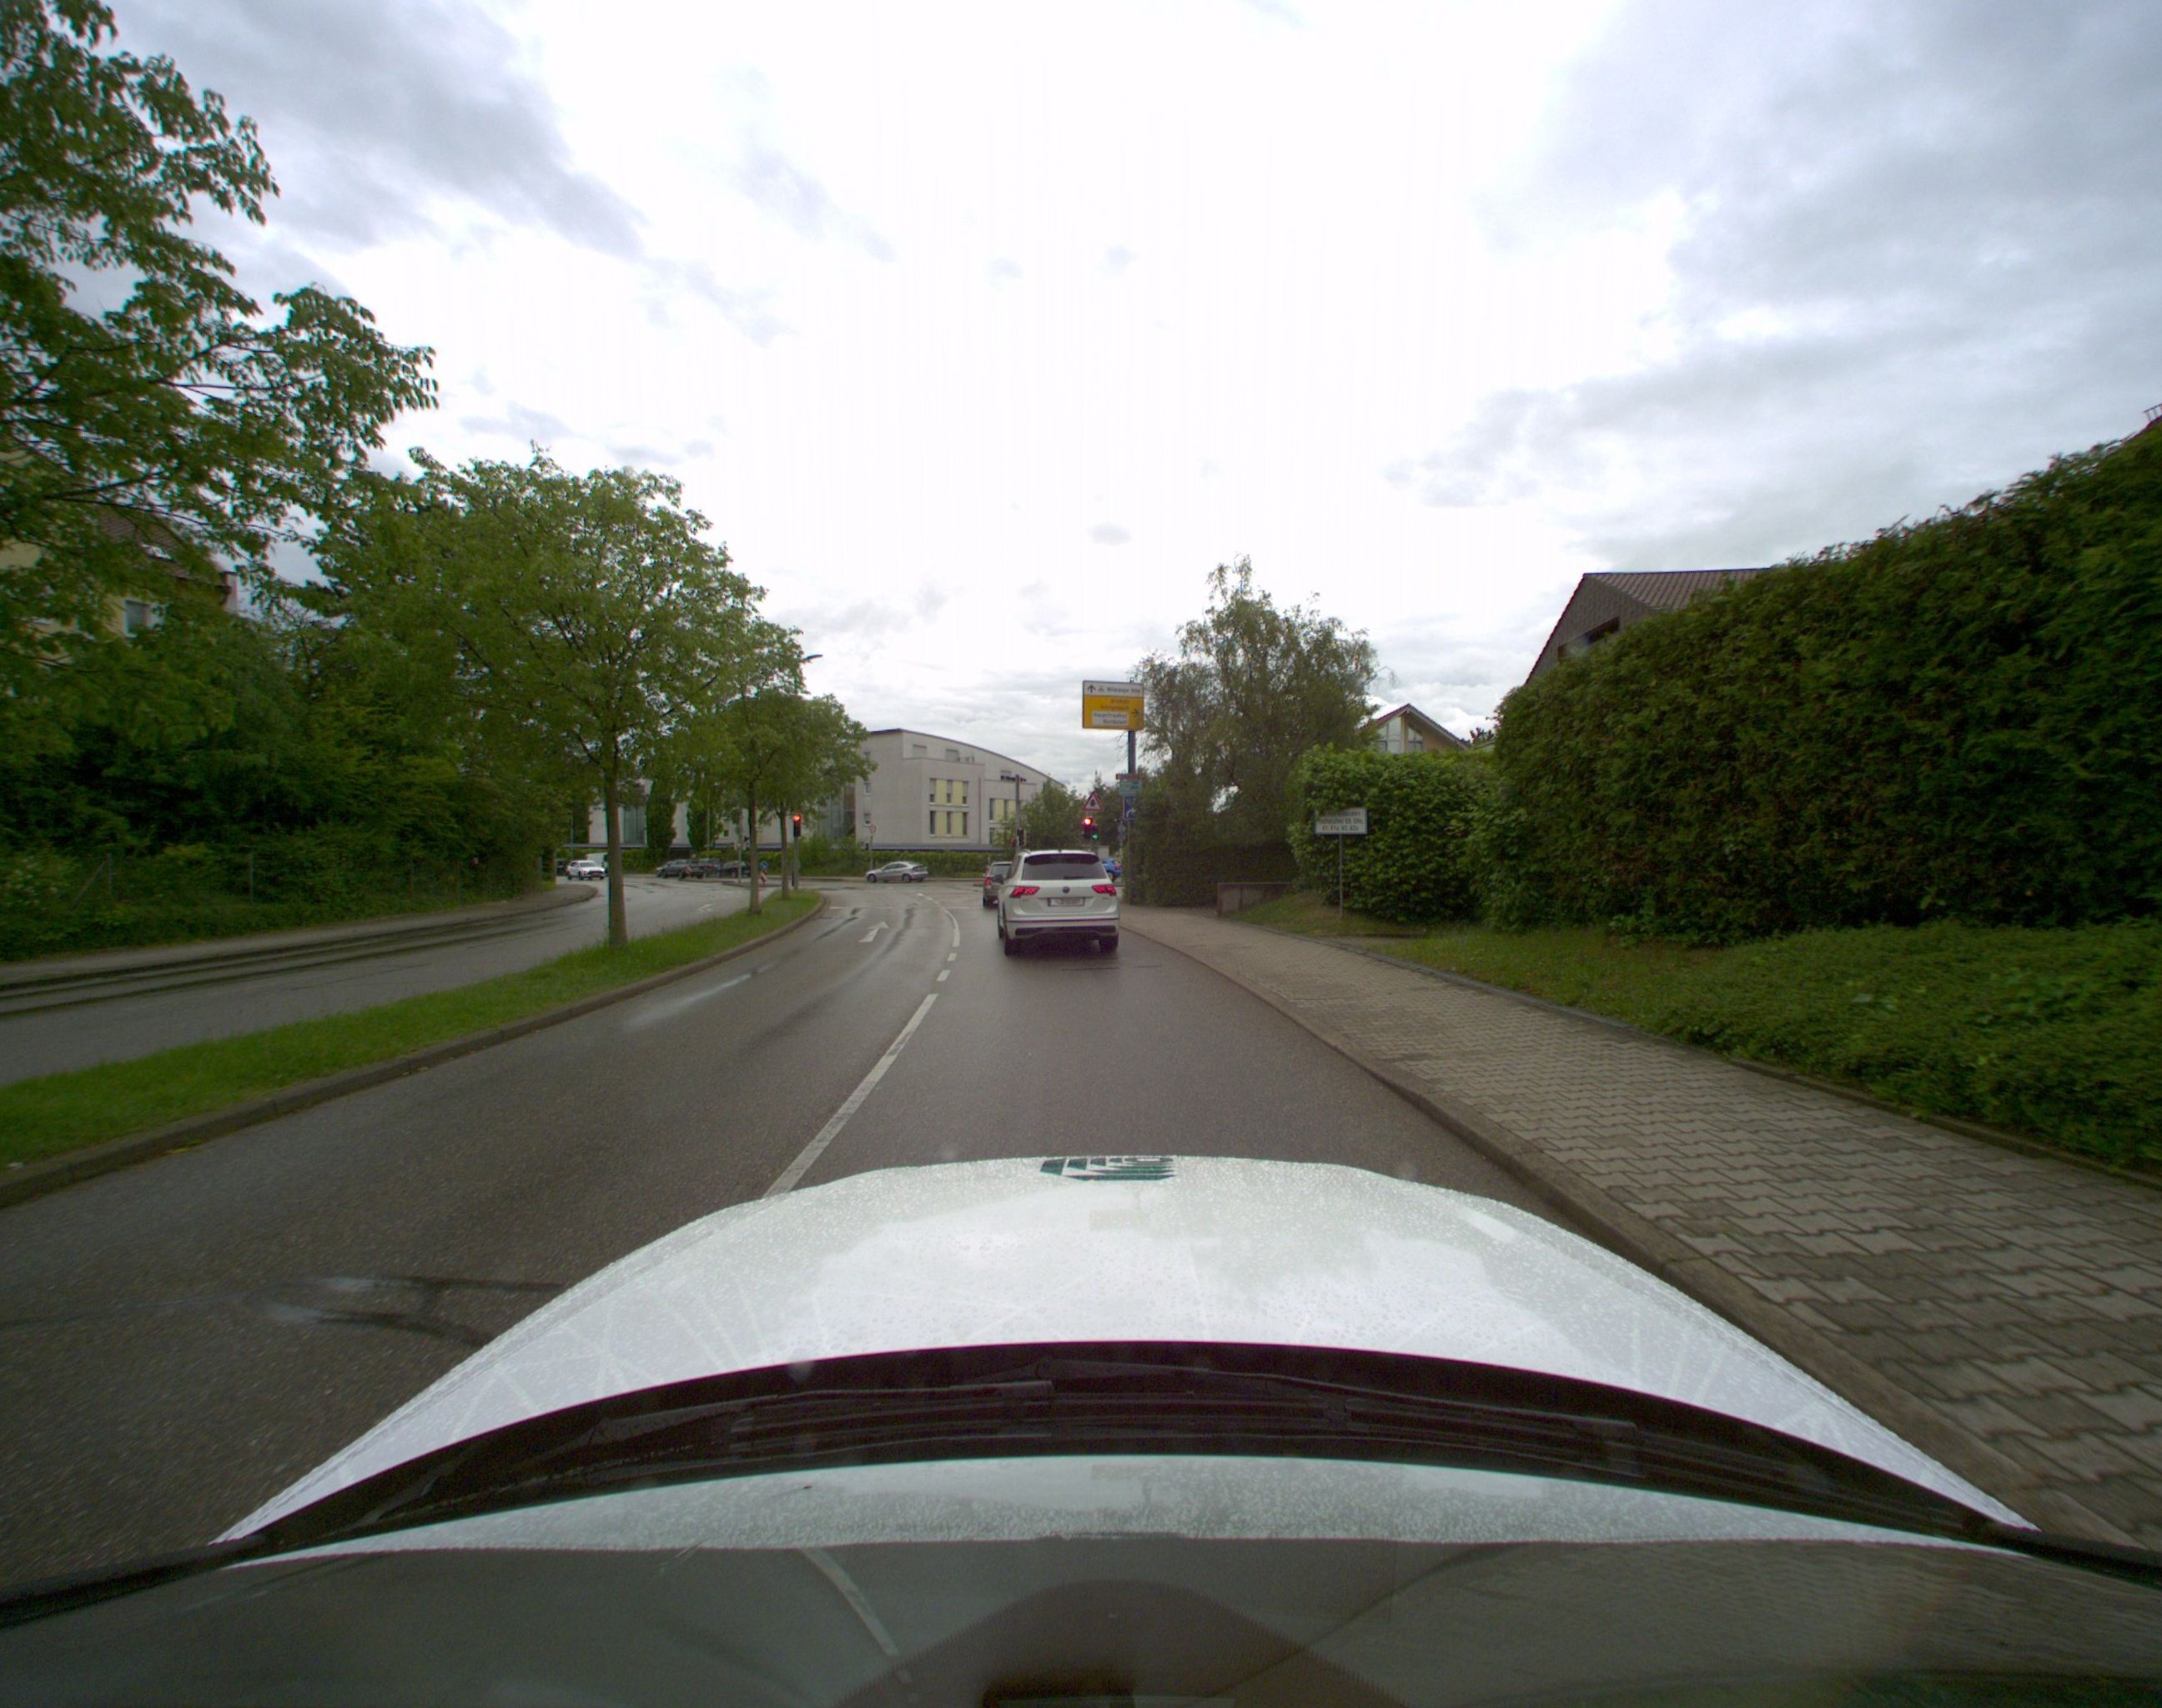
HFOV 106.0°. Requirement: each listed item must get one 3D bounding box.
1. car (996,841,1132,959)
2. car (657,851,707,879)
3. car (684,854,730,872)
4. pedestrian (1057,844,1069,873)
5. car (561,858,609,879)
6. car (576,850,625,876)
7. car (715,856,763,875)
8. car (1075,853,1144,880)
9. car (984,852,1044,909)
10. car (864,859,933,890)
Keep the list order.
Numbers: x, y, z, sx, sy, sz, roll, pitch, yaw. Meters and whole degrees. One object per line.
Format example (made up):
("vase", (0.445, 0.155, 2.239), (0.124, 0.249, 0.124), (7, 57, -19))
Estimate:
("car", (-0.462, 0.690, 14.263), (1.919, 1.722, 4.253), (0, 0, -8))
("car", (-33.303, 0.875, 67.957), (3.949, 2.013, 1.993), (4, 3, 32))
("car", (-33.540, 0.789, 73.033), (3.948, 1.555, 2.013), (0, 1, 36))
("pedestrian", (-1.264, 0.302, 56.408), (0.796, 2.013, 0.850), (0, 2, 0))
("car", (-41.344, 1.164, 67.872), (3.948, 1.640, 2.013), (1, 1, 35))
("car", (-49.932, 0.957, 84.605), (5.188, 2.413, 2.617), (-3, -1, 39))
("car", (-29.593, 0.979, 70.431), (3.948, 1.555, 2.013), (0, 1, 36))
("car", (1.771, 0.743, 50.061), (3.964, 1.555, 2.005), (-1, 1, 9))
("car", (-2.281, 0.801, 26.822), (1.764, 1.509, 3.991), (2, 2, -7))
("car", (-12.161, 1.323, 54.322), (3.958, 1.757, 2.008), (3, 2, 15))
